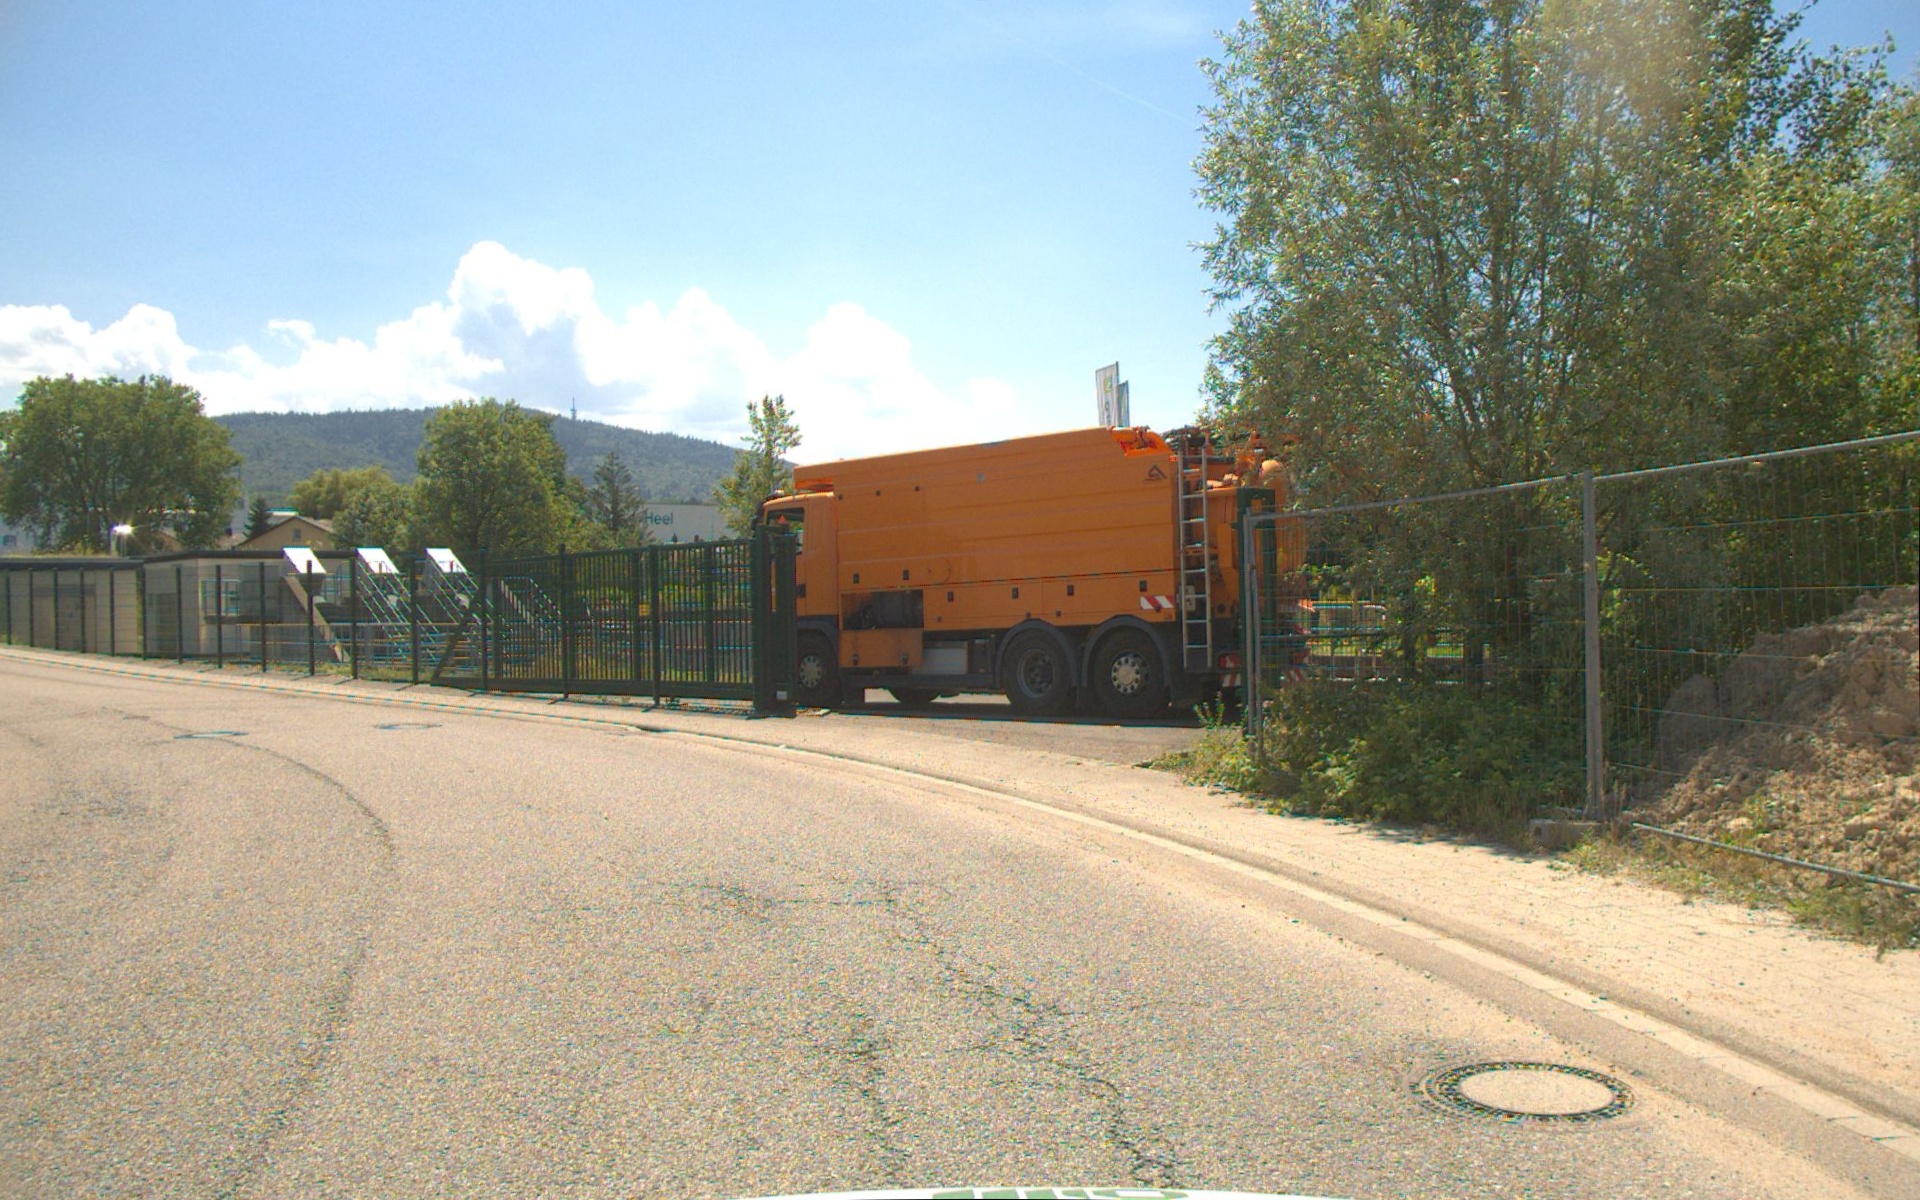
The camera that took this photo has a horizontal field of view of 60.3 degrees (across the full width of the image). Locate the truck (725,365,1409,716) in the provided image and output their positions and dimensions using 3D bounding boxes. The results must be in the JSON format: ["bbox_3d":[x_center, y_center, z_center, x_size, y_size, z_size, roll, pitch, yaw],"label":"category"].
[{"bbox_3d":[1.233,-0.600,22.558,8.449,3.872,4.144,-2,0,40],"label":"truck"}]

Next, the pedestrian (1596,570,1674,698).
[{"bbox_3d":[10.070,0.495,24.669,0.863,1.856,0.736,-1,1,42],"label":"pedestrian"}]
